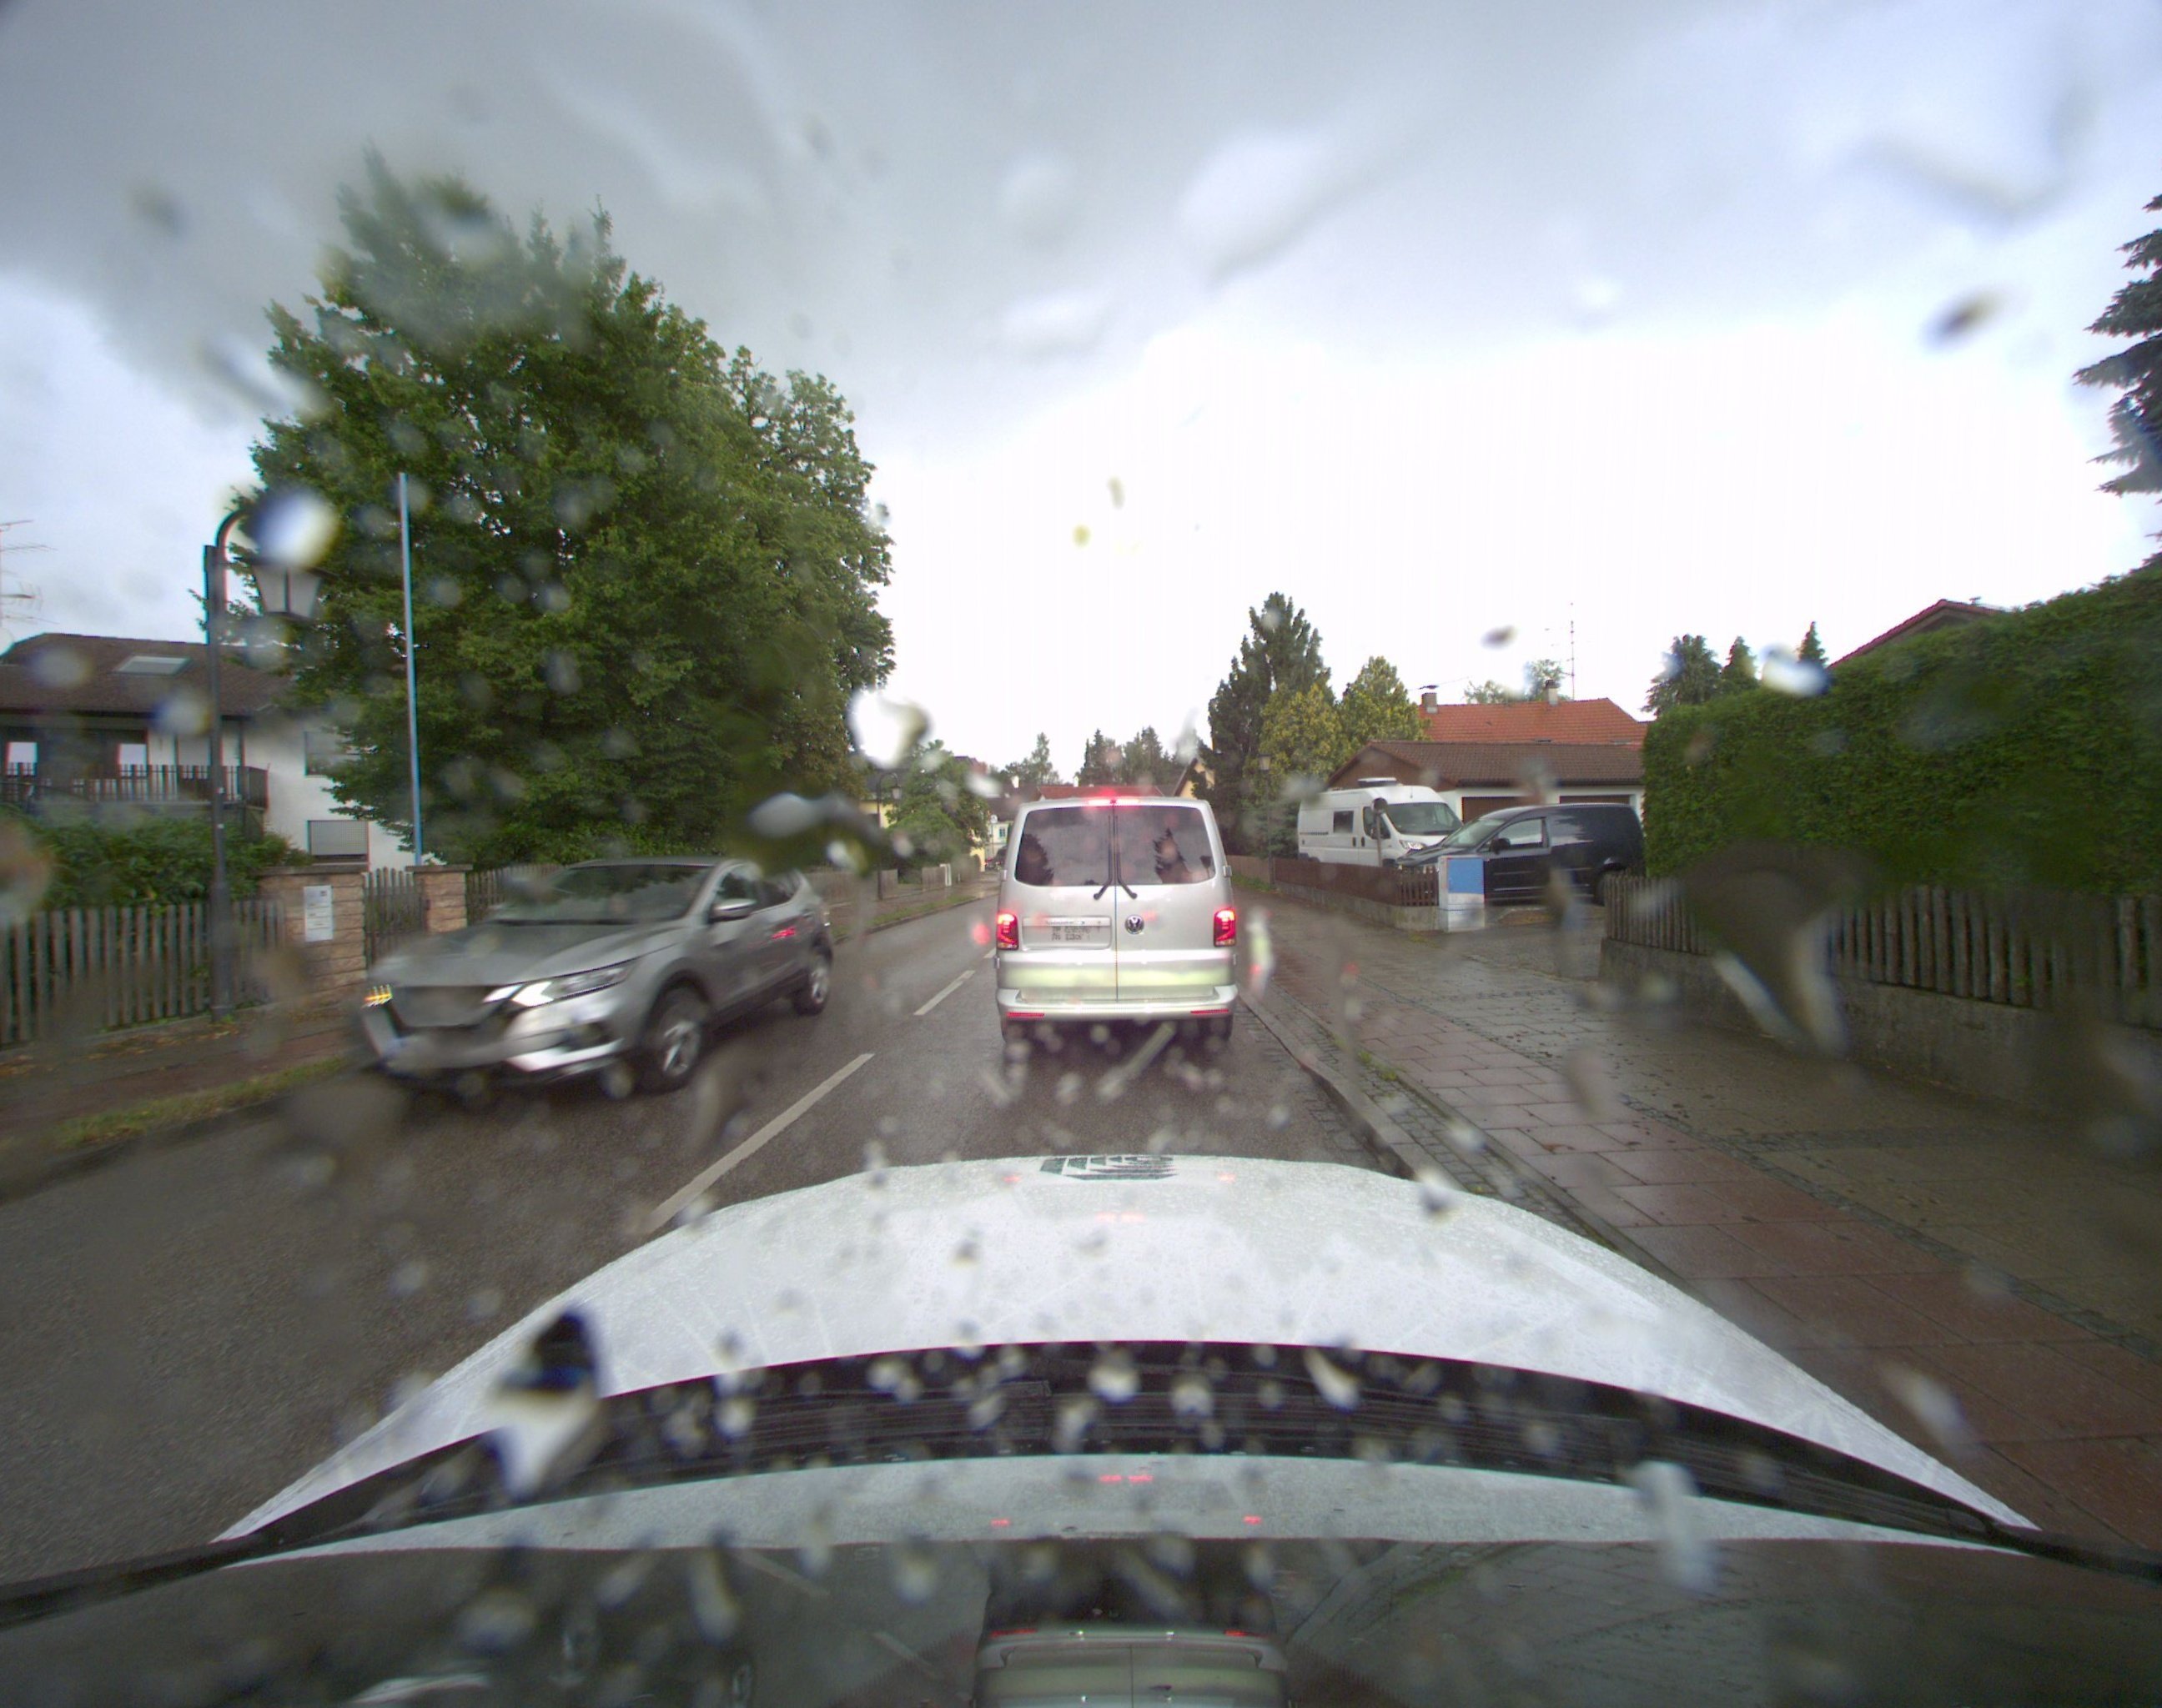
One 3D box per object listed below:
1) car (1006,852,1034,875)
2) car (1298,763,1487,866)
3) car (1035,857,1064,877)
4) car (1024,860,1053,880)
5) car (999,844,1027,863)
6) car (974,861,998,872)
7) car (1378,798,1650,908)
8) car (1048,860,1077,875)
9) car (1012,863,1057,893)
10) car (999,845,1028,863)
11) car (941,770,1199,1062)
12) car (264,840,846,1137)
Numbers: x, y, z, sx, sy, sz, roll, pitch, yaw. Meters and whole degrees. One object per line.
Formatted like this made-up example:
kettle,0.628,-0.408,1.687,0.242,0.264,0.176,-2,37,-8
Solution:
car,-5.612,0.855,74.717,1.996,2.014,3.981,0,-1,-14
car,7.356,-0.800,19.889,1.995,2.174,4.933,0,-1,-12
car,-2.143,0.884,54.675,1.777,1.310,3.768,0,-1,-5
car,-4.402,1.618,83.700,1.999,2.014,3.974,0,-1,-19
car,-7.485,0.024,89.120,2.002,2.014,3.970,1,-1,-22
car,-11.552,1.565,99.238,1.789,1.310,3.743,1,-1,-26
car,7.780,-0.046,14.850,4.083,1.751,1.693,-2,2,-2
car,-1.752,1.219,75.057,1.784,1.310,3.754,0,-1,-16
car,-2.111,1.094,38.264,1.773,1.310,3.777,0,-1,2
car,-7.476,0.064,89.922,2.003,1.927,3.968,1,-1,-24
car,0.069,0.454,7.674,1.792,2.014,4.004,0,-1,4
car,-3.486,0.766,6.531,1.820,1.558,4.178,-2,-1,2
